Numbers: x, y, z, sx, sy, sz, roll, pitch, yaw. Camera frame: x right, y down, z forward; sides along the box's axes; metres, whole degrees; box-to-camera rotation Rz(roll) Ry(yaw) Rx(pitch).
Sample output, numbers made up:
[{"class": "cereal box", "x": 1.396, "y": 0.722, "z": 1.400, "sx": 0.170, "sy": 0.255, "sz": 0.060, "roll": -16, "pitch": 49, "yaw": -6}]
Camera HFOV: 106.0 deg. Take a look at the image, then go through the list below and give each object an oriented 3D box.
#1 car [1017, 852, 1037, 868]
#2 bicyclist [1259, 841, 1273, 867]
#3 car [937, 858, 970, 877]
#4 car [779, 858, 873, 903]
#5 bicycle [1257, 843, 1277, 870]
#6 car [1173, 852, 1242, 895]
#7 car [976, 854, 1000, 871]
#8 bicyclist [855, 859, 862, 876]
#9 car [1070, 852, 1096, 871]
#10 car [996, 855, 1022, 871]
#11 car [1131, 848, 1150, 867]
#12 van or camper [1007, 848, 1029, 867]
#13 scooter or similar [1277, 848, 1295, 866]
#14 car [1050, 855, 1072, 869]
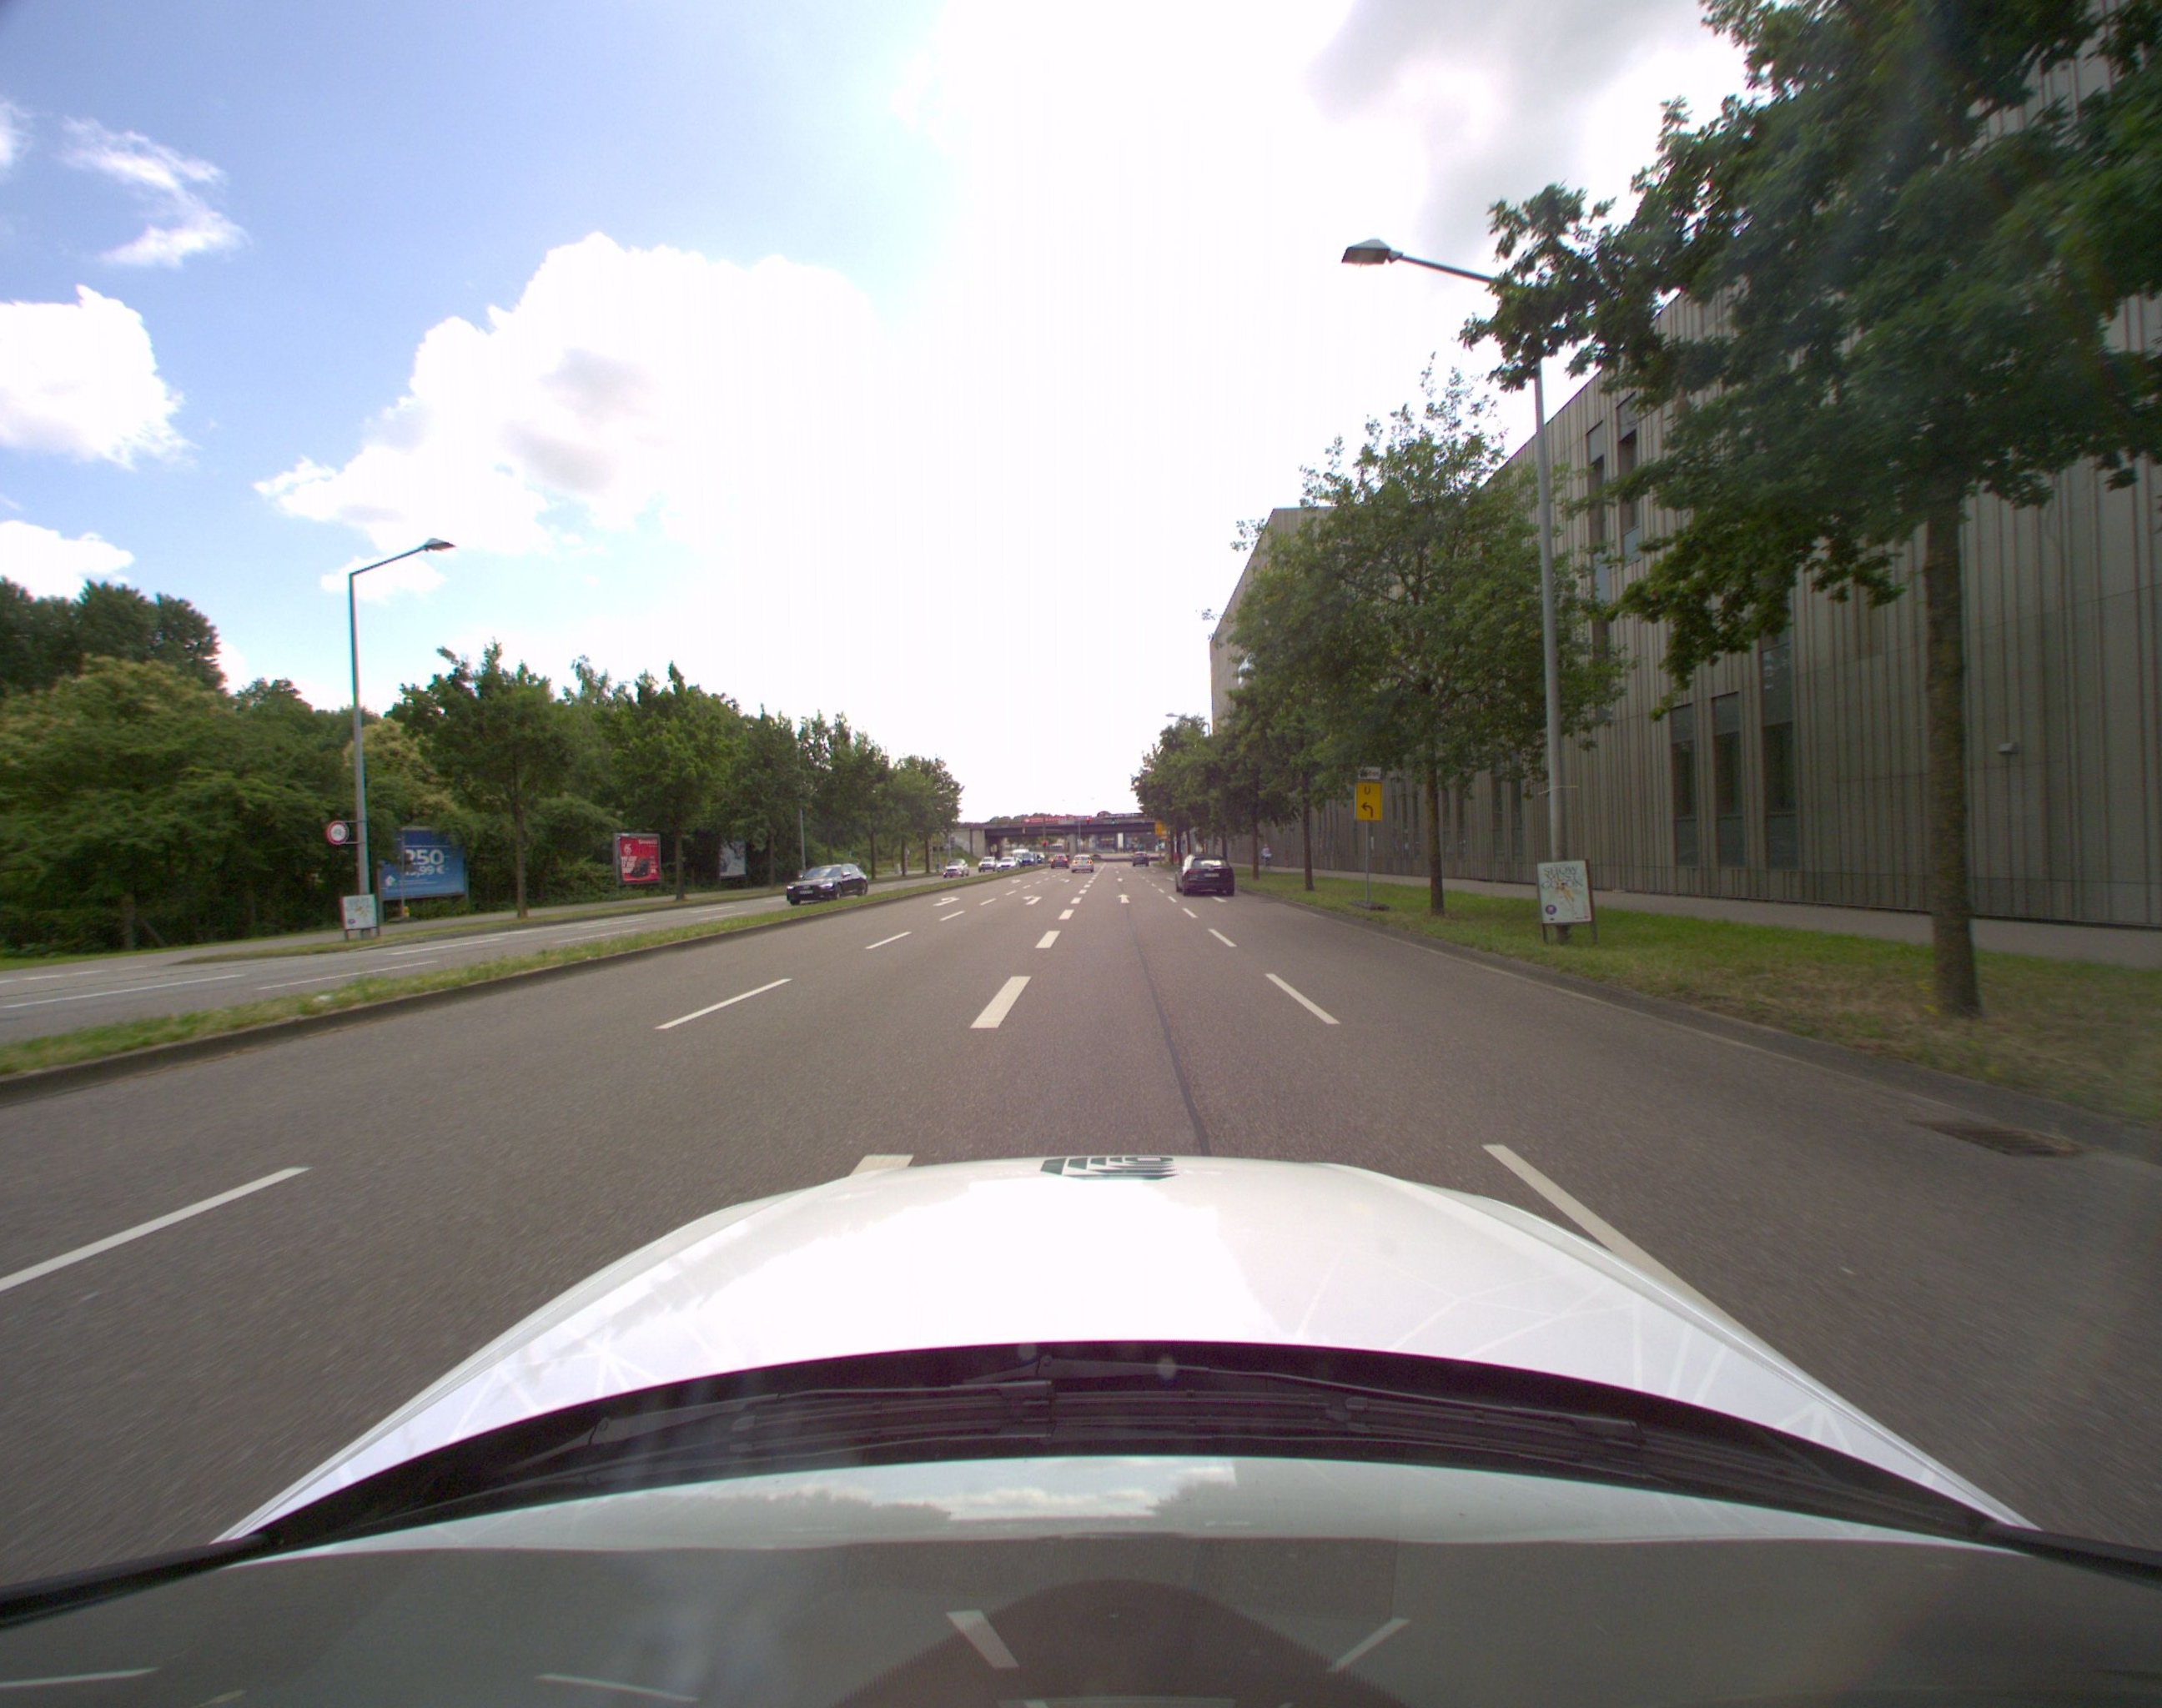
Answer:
[{"class": "car", "x": -6.953, "y": 0.734, "z": 105.425, "sx": 2.183, "sy": 1.963, "sz": 5.194, "roll": -2, "pitch": 0, "yaw": 1}, {"class": "bicyclist", "x": 13.010, "y": -0.005, "z": 57.240, "sx": 0.713, "sy": 1.769, "sz": 0.988, "roll": -2, "pitch": 0, "yaw": -2}, {"class": "car", "x": -11.019, "y": 1.143, "z": 70.653, "sx": 1.907, "sy": 1.442, "sz": 4.416, "roll": -4, "pitch": 0, "yaw": 1}, {"class": "car", "x": -9.910, "y": 0.995, "z": 32.090, "sx": 1.952, "sy": 1.517, "sz": 4.912, "roll": -2, "pitch": 0, "yaw": 2}, {"class": "bicycle", "x": 13.018, "y": 0.163, "z": 57.030, "sx": 0.717, "sy": 1.774, "sz": 2.532, "roll": -2, "pitch": 0, "yaw": -1}, {"class": "car", "x": 4.512, "y": 0.656, "z": 29.745, "sx": 1.986, "sy": 1.390, "sz": 4.578, "roll": -1, "pitch": 1, "yaw": 2}, {"class": "car", "x": -10.283, "y": 0.913, "z": 90.619, "sx": 1.986, "sy": 1.801, "sz": 4.410, "roll": -2, "pitch": 0, "yaw": 1}, {"class": "bicyclist", "x": -19.874, "y": 1.219, "z": 72.761, "sx": 0.493, "sy": 1.464, "sz": 0.712, "roll": -1, "pitch": 0, "yaw": -3}, {"class": "car", "x": 0.199, "y": 0.606, "z": 67.591, "sx": 1.908, "sy": 1.415, "sz": 4.298, "roll": 1, "pitch": 0, "yaw": 2}, {"class": "car", "x": -7.314, "y": 0.911, "z": 83.343, "sx": 1.985, "sy": 1.431, "sz": 5.027, "roll": -2, "pitch": 0, "yaw": 3}, {"class": "car", "x": 6.838, "y": 0.410, "z": 94.541, "sx": 1.985, "sy": 2.037, "sz": 4.716, "roll": -2, "pitch": 0, "yaw": 3}, {"class": "van or camper", "x": -9.036, "y": 0.473, "z": 117.321, "sx": 2.343, "sy": 2.539, "sz": 7.066, "roll": -1, "pitch": 0, "yaw": 1}, {"class": "scooter or similar", "x": 14.666, "y": 0.213, "z": 58.312, "sx": 0.701, "sy": 1.246, "sz": 2.481, "roll": -3, "pitch": 0, "yaw": 3}, {"class": "car", "x": -2.124, "y": 0.843, "z": 85.904, "sx": 1.986, "sy": 1.415, "sz": 4.835, "roll": -1, "pitch": 0, "yaw": 2}]
